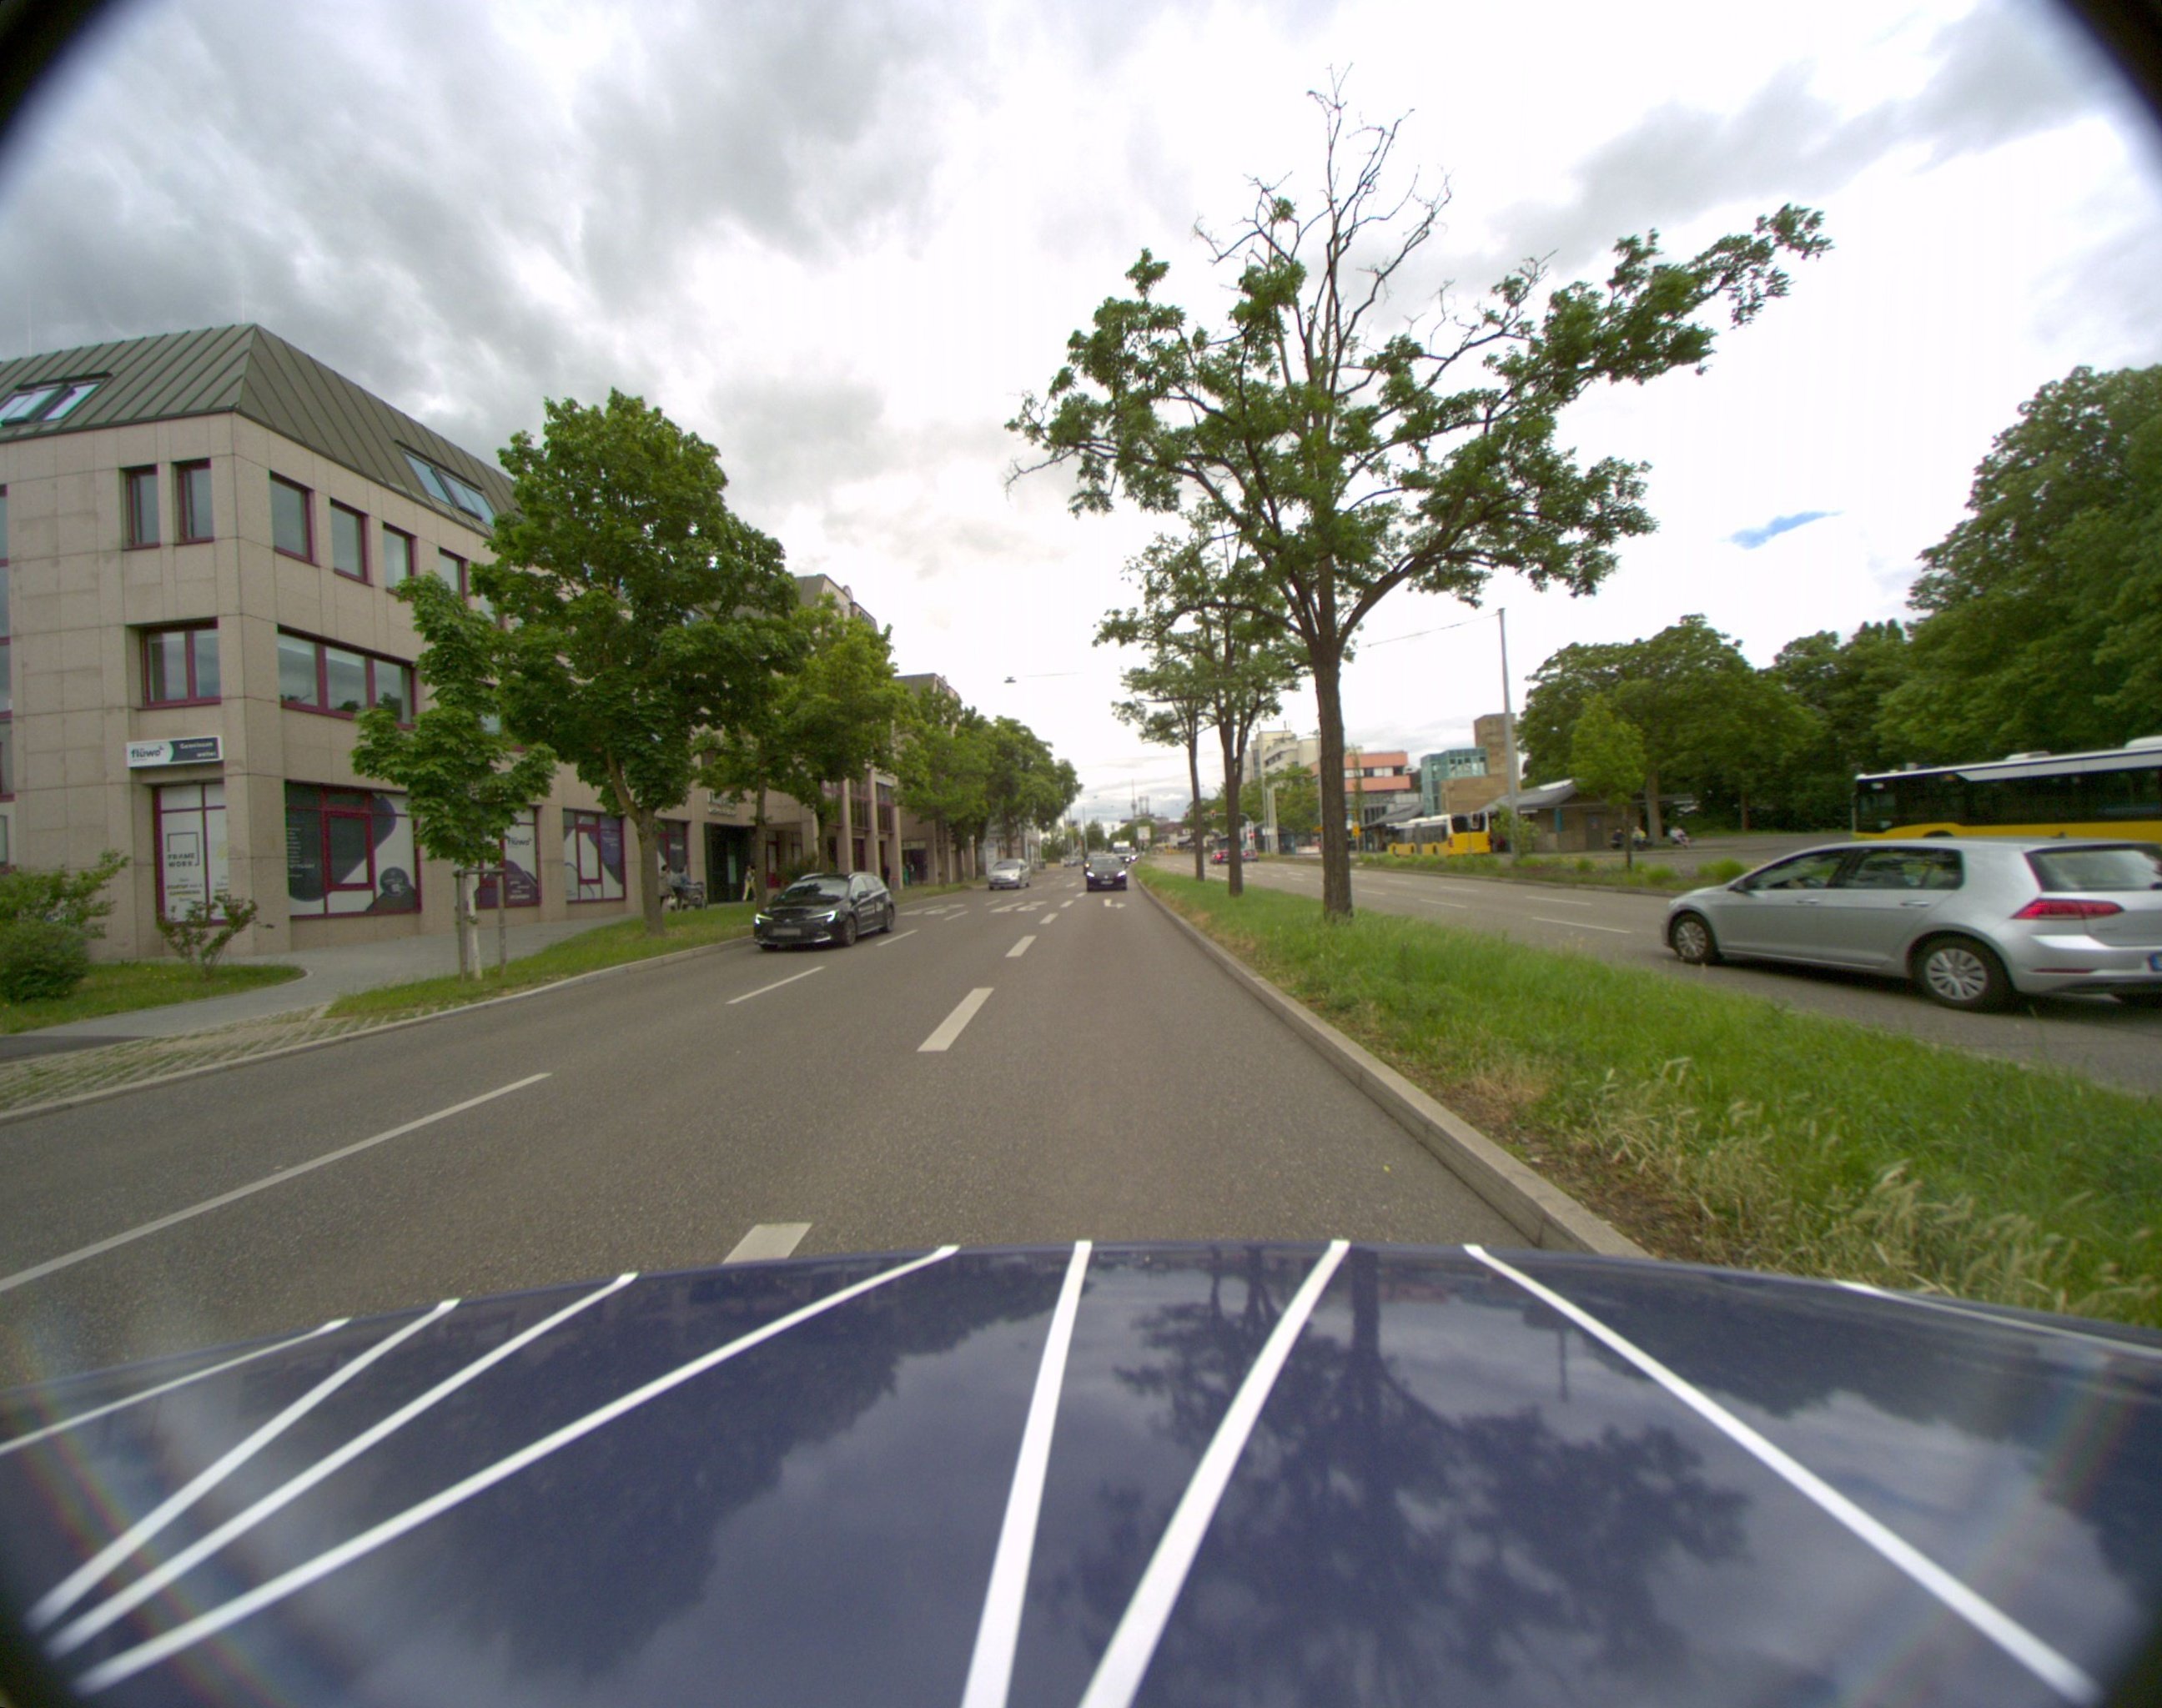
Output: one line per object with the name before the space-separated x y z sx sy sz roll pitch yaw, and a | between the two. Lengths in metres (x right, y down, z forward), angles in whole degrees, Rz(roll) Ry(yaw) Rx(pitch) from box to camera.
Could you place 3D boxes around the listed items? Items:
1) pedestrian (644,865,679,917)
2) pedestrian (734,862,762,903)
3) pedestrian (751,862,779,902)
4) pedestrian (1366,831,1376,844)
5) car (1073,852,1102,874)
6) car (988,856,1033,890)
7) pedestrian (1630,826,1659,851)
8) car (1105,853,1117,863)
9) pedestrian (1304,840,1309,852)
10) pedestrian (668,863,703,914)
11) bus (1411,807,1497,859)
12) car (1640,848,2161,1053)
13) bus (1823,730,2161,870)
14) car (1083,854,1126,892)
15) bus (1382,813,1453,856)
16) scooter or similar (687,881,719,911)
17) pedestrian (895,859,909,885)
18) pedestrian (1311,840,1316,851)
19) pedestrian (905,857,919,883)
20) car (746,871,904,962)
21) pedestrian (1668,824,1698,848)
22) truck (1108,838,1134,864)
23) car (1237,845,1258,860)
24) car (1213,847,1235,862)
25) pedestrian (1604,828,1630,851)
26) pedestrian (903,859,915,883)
pedestrian | -14.243 1.250 25.807 0.568 1.690 0.829 -3 1 6
pedestrian | -14.299 1.208 32.631 0.596 1.695 0.970 -3 1 6
pedestrian | -13.609 1.194 32.741 0.596 1.695 0.970 -3 1 6
pedestrian | 34.510 -1.972 90.348 0.990 1.452 0.592 -3 1 18
car | 0.527 0.711 62.084 2.150 1.630 5.095 -4 0 1
car | -3.742 0.968 40.933 1.763 1.625 4.156 -2 0 3
pedestrian | 30.457 -0.822 41.099 0.859 1.283 0.894 -3 1 -22
car | 4.862 0.602 121.972 1.895 1.531 4.048 -2 0 3
pedestrian | 31.657 -1.139 106.596 0.529 1.539 0.754 -3 1 18
pedestrian | -13.294 1.150 25.577 0.556 1.643 0.962 -1 1 7
bus | 26.065 -1.420 53.614 2.814 3.113 9.306 -5 0 10
car | 7.940 0.683 7.458 1.758 1.436 4.134 -1 0 -2
bus | 26.205 -1.407 20.080 3.090 3.144 10.740 -7 0 5
car | 1.088 0.825 34.345 1.763 1.531 4.048 -2 0 3
bus | 27.639 -1.526 62.892 2.781 3.113 9.444 -5 0 9
scooter or similar | -13.171 1.455 26.476 0.585 0.988 0.847 -1 1 7
pedestrian | -11.979 1.186 50.836 0.659 1.681 0.843 -1 1 6
pedestrian | 32.579 -1.144 106.535 0.485 1.539 0.383 -3 1 -6
pedestrian | -11.228 1.075 50.582 0.659 1.681 0.843 -1 1 6
car | -5.193 1.199 16.101 1.768 1.440 4.420 -3 1 0
pedestrian | 31.954 -0.947 40.360 0.895 1.247 0.858 -3 1 3
truck | 5.618 -0.486 107.153 3.118 3.209 6.523 -5 1 1
car | 18.592 -0.166 84.730 1.819 1.499 4.001 -3 1 6
car | 14.754 0.047 78.727 1.662 1.499 3.769 -3 1 2
pedestrian | 30.556 -0.799 43.305 0.859 1.247 0.894 -3 1 -26
pedestrian | -11.130 1.079 49.080 0.562 1.541 0.544 -1 1 6
